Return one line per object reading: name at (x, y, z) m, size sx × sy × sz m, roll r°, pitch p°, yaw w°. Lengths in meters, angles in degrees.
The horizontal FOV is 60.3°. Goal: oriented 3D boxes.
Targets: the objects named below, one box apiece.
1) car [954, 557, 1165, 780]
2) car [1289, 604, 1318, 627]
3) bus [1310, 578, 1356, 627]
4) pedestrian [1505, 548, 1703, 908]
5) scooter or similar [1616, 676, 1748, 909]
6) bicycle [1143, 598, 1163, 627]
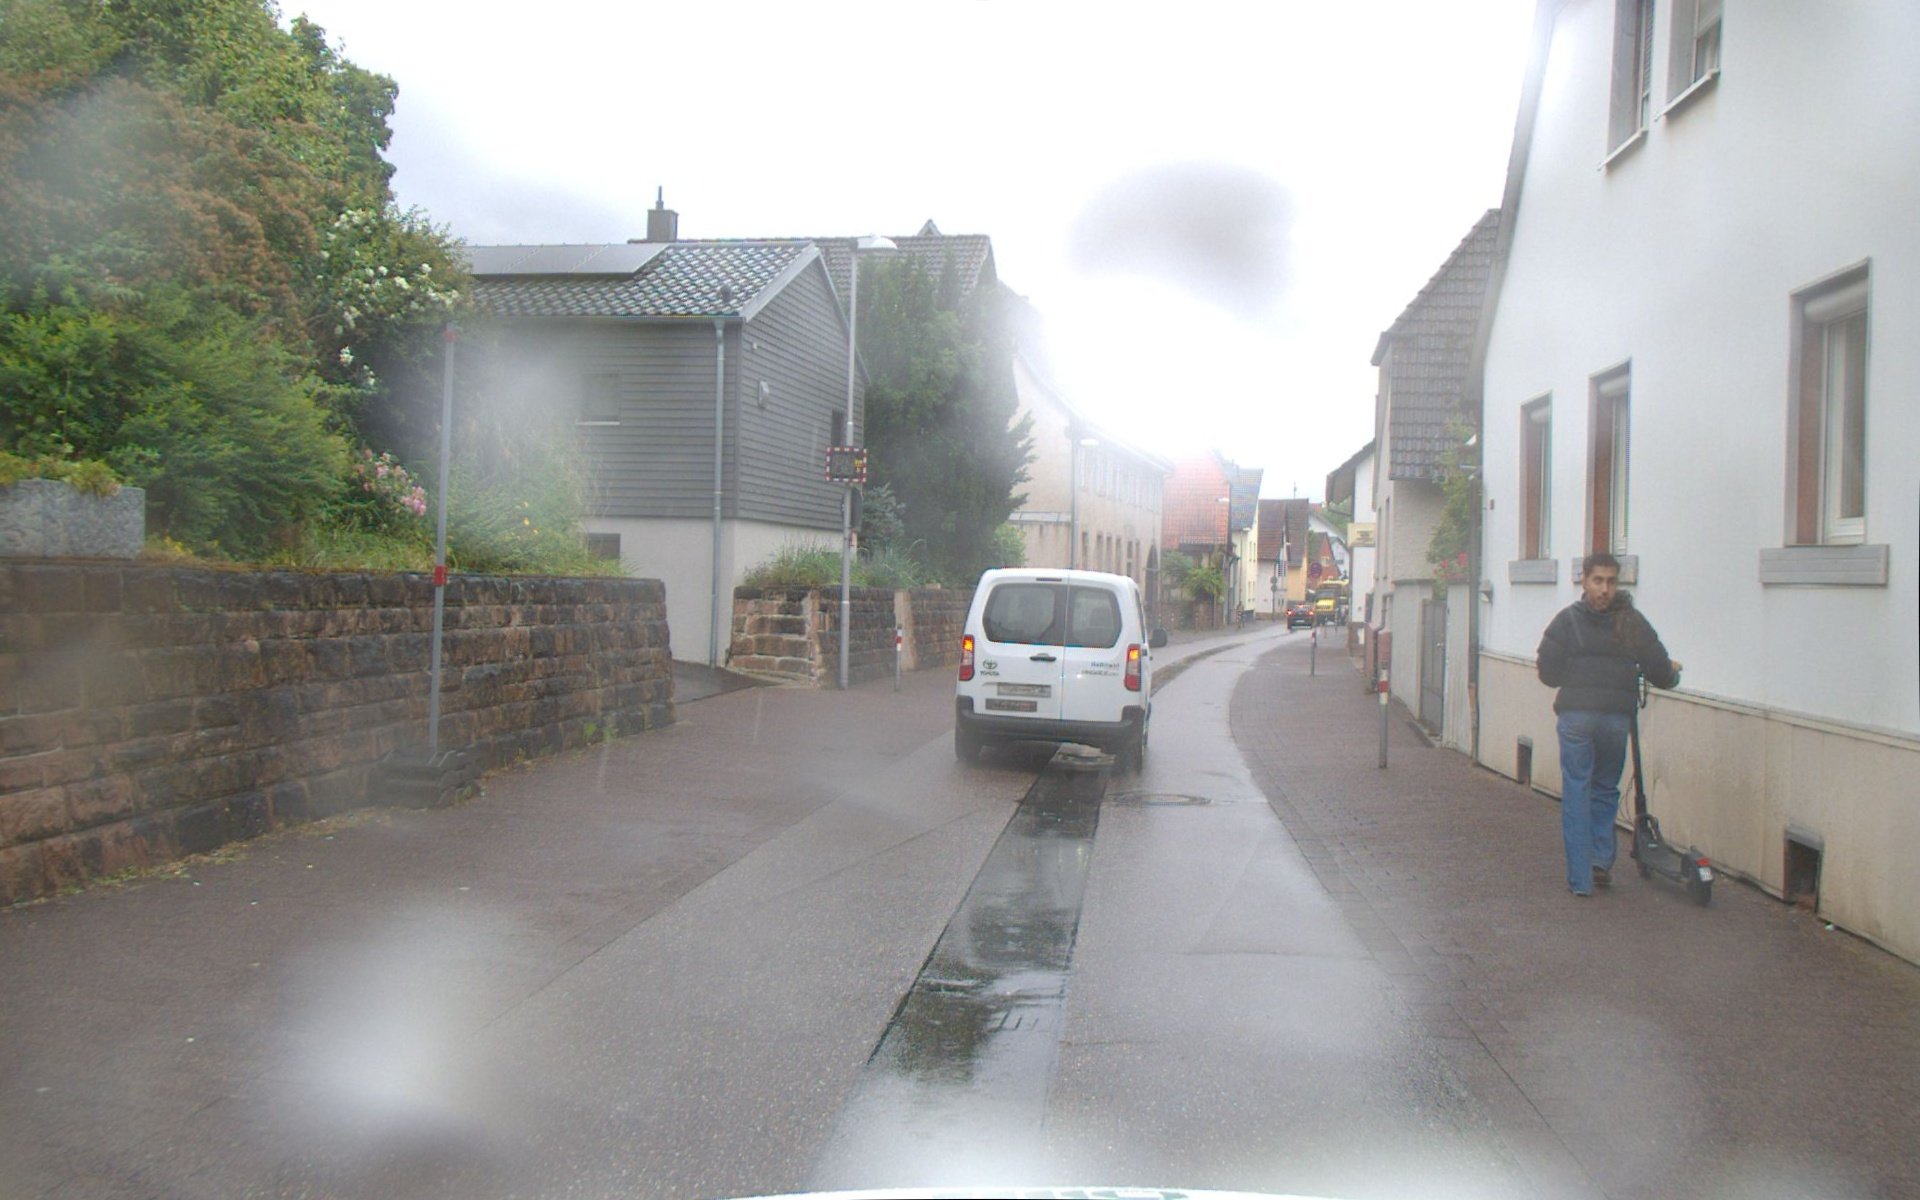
car at (1.122, 0.616, 16.568) m, size 1.757 × 1.850 × 4.104 m, roll 3°, pitch 0°, yaw 7°
car at (22.081, 0.988, 106.374) m, size 1.529 × 1.395 × 3.587 m, roll 3°, pitch 0°, yaw 16°
bus at (26.842, 0.200, 118.814) m, size 2.735 × 3.235 × 8.183 m, roll 3°, pitch 0°, yaw 15°
pedestrian at (3.357, 0.630, 8.695) m, size 0.680 × 1.762 × 0.822 m, roll 3°, pitch 1°, yaw 6°
scooter or similar at (3.725, 0.960, 8.581) m, size 0.240 × 1.045 × 1.101 m, roll 3°, pitch 1°, yaw 5°
bicycle at (8.003, 0.522, 68.467) m, size 0.473 × 1.200 × 1.836 m, roll 3°, pitch 0°, yaw 17°
